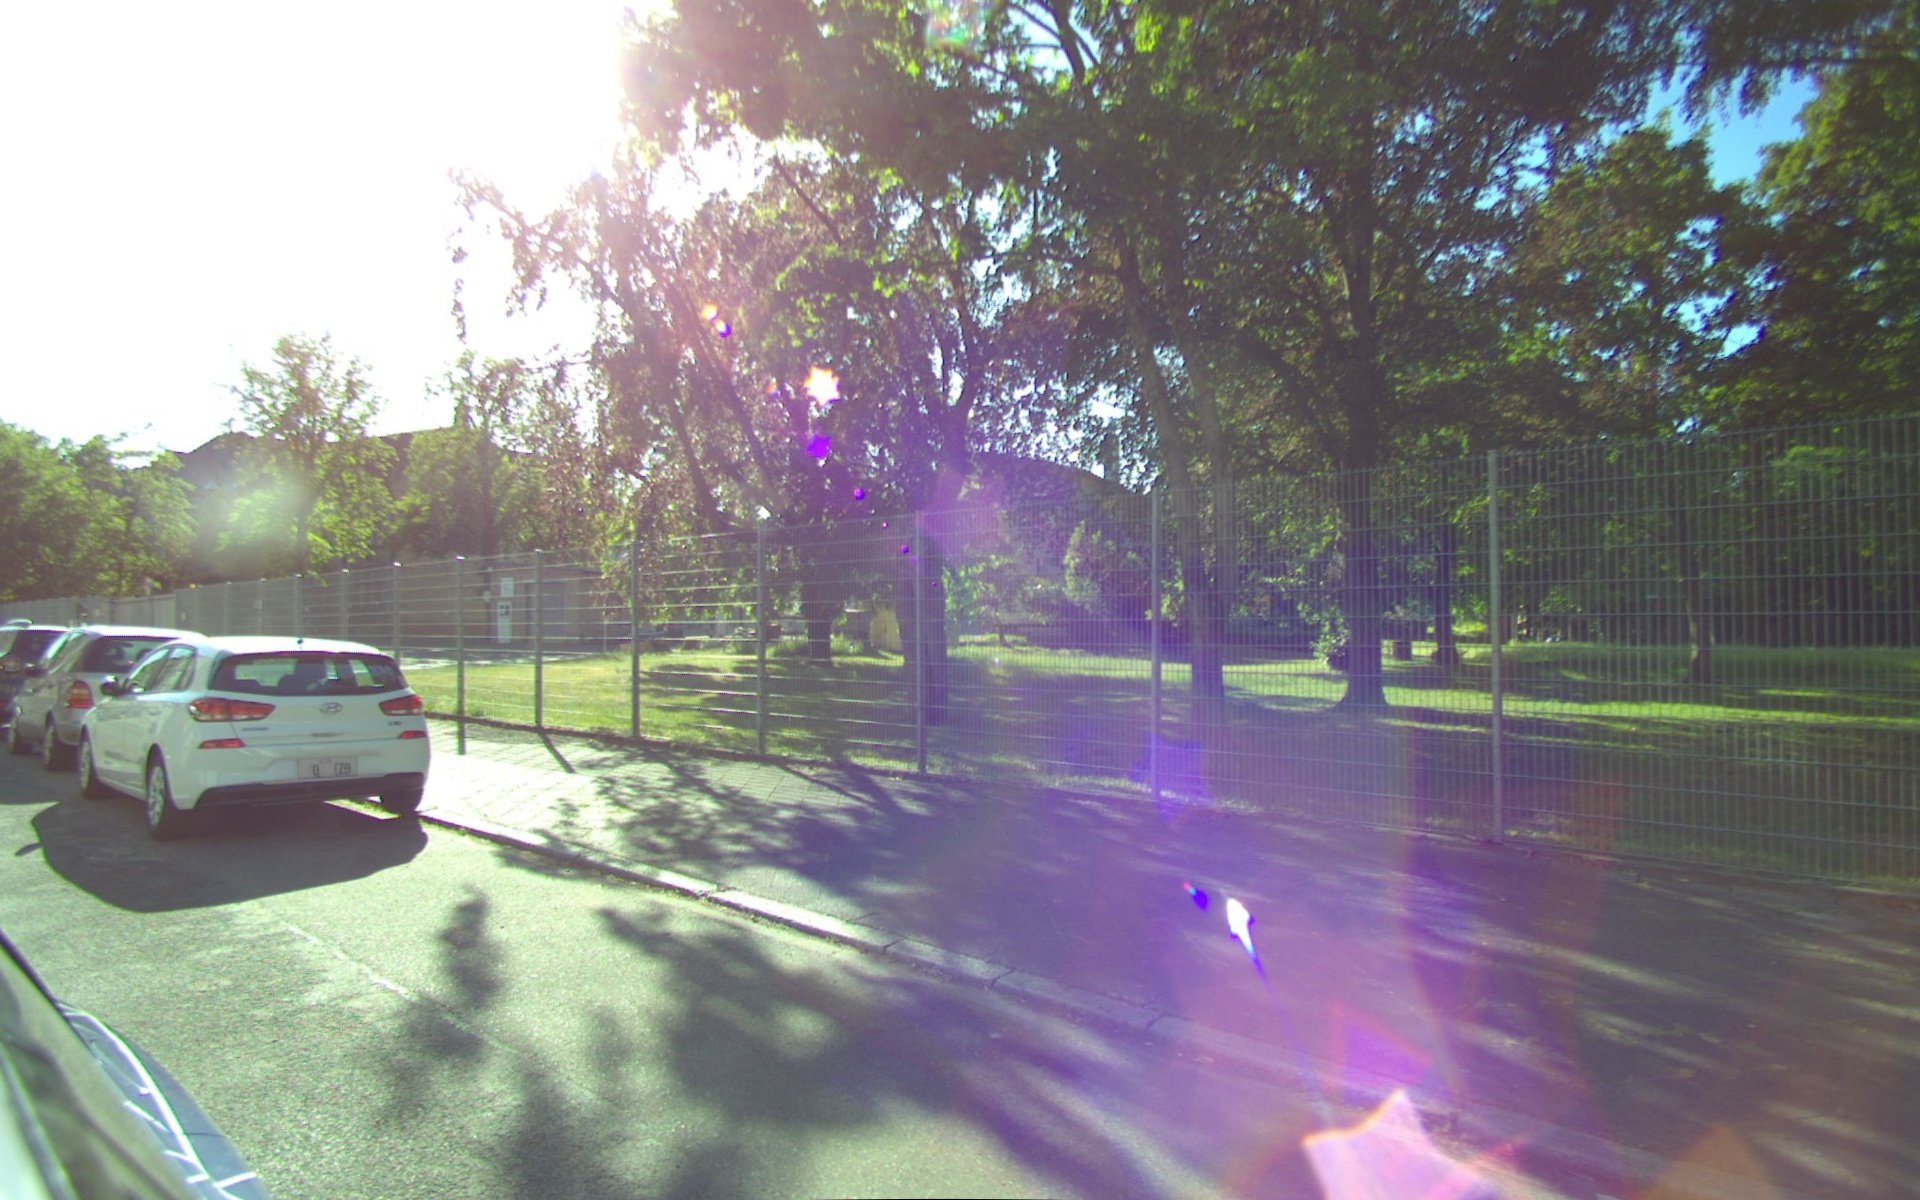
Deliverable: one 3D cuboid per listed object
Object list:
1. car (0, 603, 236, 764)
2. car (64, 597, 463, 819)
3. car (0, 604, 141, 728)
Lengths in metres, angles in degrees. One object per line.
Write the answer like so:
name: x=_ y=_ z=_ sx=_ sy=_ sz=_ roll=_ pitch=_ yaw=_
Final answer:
car: x=-10.234 y=0.921 z=12.155 sx=3.612 sy=1.656 sz=1.548 roll=-1 pitch=-4 yaw=39
car: x=-6.084 y=0.759 z=8.660 sx=4.116 sy=1.456 sz=1.776 roll=-1 pitch=-2 yaw=40
car: x=-14.180 y=0.951 z=15.492 sx=4.160 sy=1.676 sz=1.695 roll=-1 pitch=-3 yaw=39
